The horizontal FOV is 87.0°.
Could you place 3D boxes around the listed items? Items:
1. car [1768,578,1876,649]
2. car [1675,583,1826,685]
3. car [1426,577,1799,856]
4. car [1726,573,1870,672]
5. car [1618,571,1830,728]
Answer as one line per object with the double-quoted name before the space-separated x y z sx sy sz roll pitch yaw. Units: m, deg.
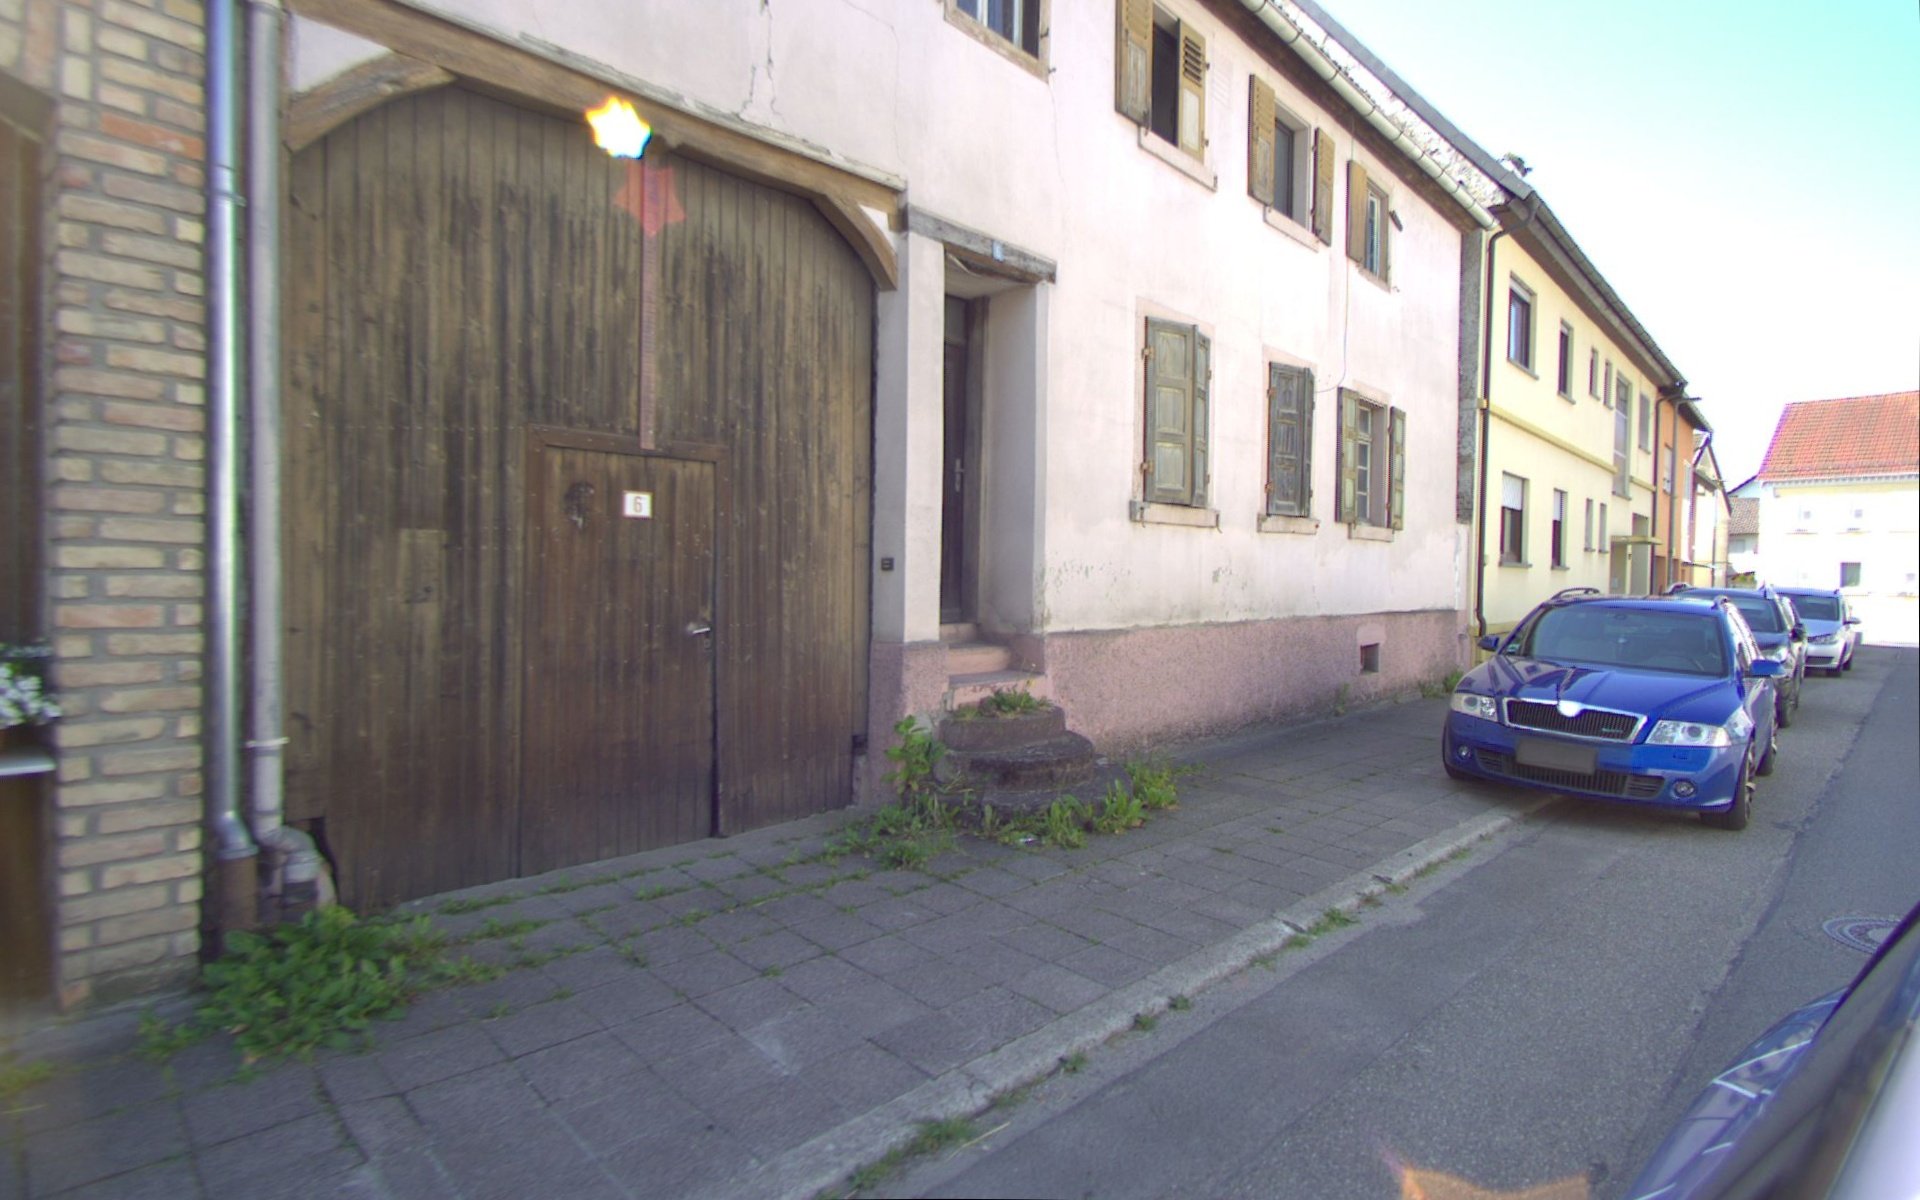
"car" 23.545 0.291 27.570 1.845 1.723 5.097 3 2 44
"car" 13.154 0.471 16.777 1.552 1.455 3.661 3 3 44
"car" 5.195 0.599 7.767 1.698 1.487 4.343 3 3 42
"car" 16.773 0.360 20.183 1.899 1.749 4.181 1 1 44
"car" 9.646 0.475 12.660 1.699 1.603 3.965 3 3 43
